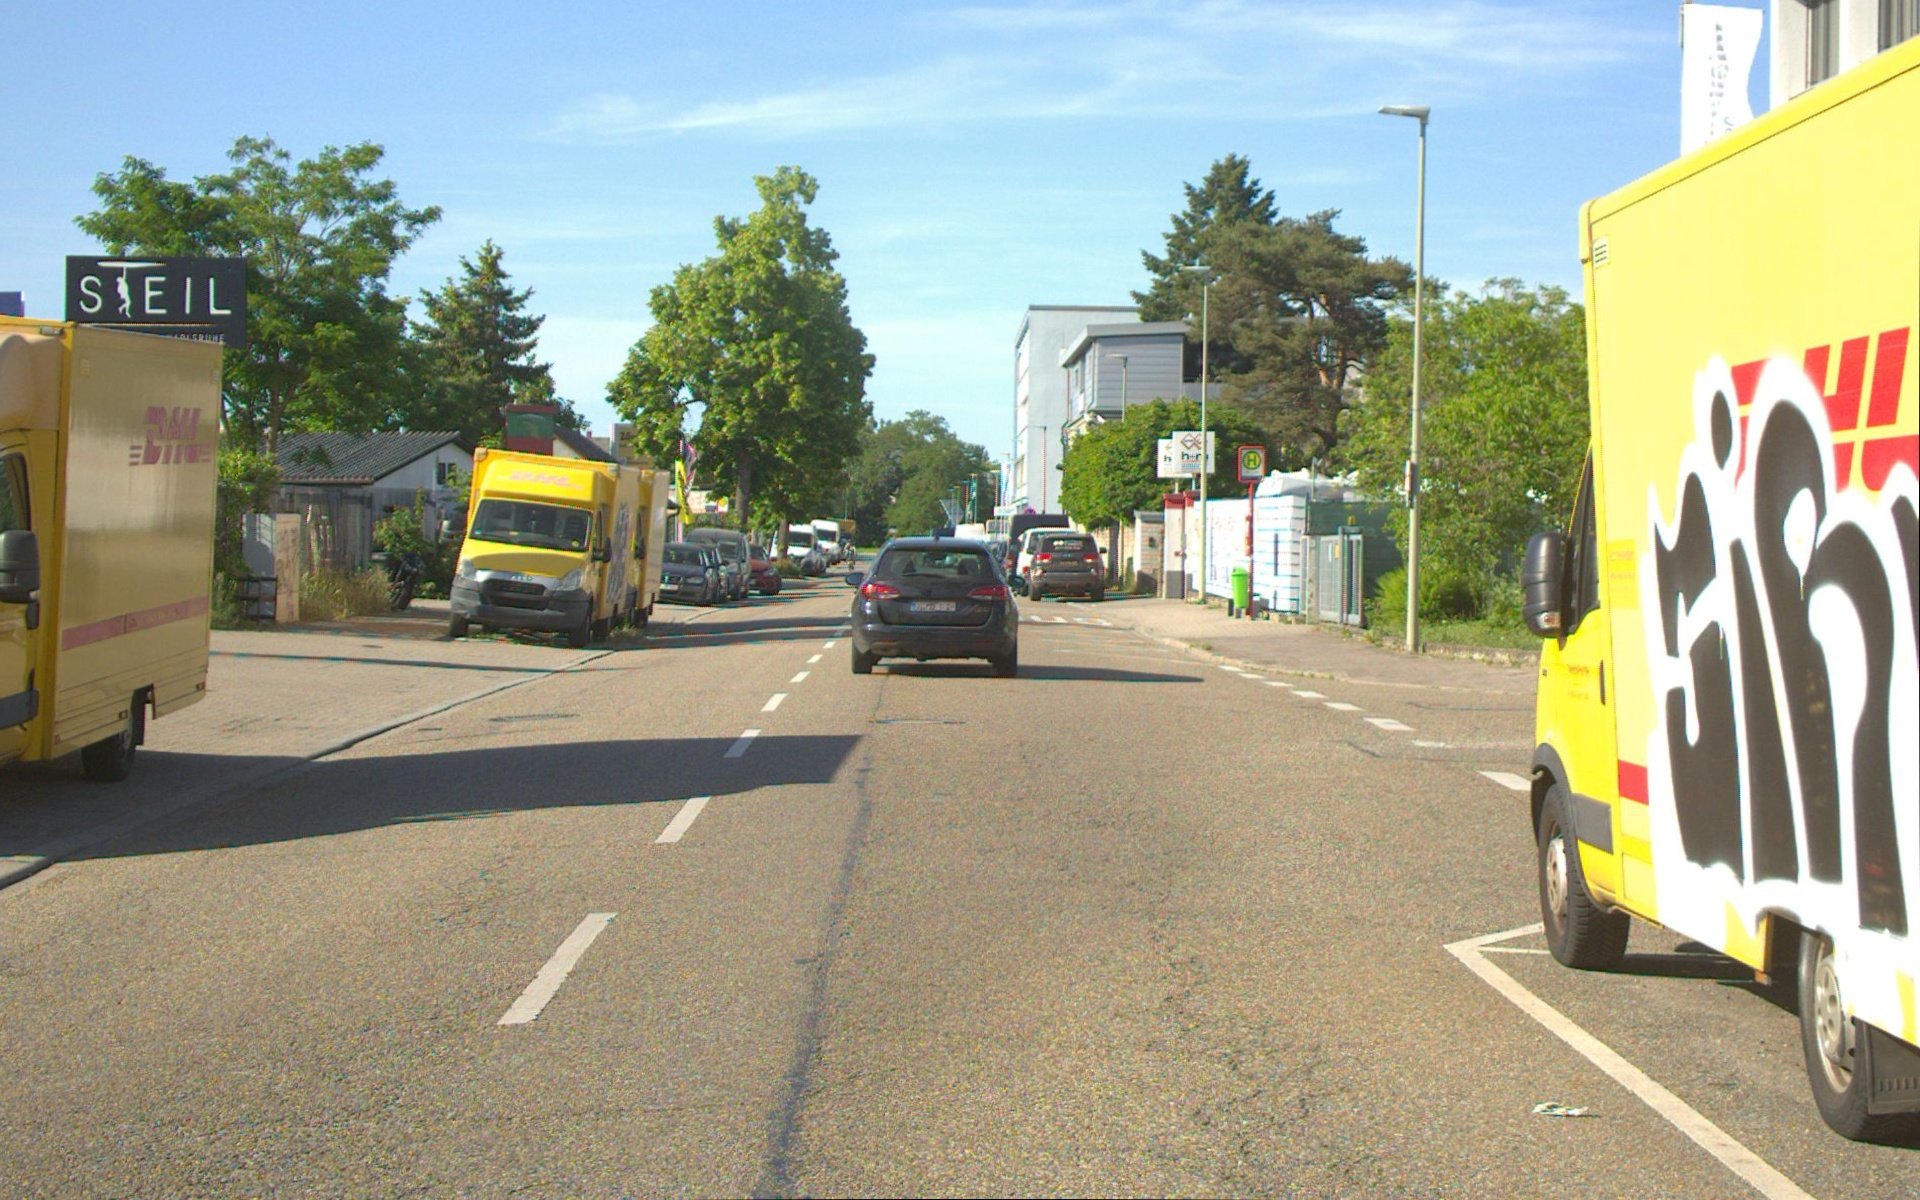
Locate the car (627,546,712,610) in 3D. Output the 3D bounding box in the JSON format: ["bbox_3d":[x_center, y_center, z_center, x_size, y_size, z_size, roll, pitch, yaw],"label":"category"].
[{"bbox_3d":[-6.769,-0.535,80.497,1.756,1.398,4.558,1,1,-2],"label":"car"}]

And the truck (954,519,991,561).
[{"bbox_3d":[0.668,-3.429,195.315,1.993,2.280,6.956,1,1,0],"label":"truck"}]

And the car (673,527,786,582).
[{"bbox_3d":[-6.531,-1.300,96.996,1.875,1.480,4.045,-1,2,-24],"label":"car"}]

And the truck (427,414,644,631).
[{"bbox_3d":[-6.331,-1.157,52.064,2.402,2.972,6.374,3,1,0],"label":"truck"}]

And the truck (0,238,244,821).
[{"bbox_3d":[-6.171,-0.447,20.402,2.402,2.972,7.246,3,1,-2],"label":"truck"}]

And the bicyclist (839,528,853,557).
[{"bbox_3d":[-5.915,-2.987,178.655,0.695,1.534,0.635,1,1,-2],"label":"bicyclist"}]

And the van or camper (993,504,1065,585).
[{"bbox_3d":[2.007,-1.634,101.040,1.993,2.302,4.000,1,1,0],"label":"van or camper"}]

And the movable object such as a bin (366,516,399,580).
[{"bbox_3d":[-12.068,-1.087,71.806,0.585,1.335,0.549,1,1,0],"label":"movable object such as a bin"}]

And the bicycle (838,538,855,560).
[{"bbox_3d":[-5.895,-2.648,178.582,0.829,1.149,2.941,1,1,-2],"label":"bicycle"}]

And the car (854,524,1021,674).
[{"bbox_3d":[-0.213,-0.048,37.450,1.712,1.527,3.687,1,1,1],"label":"car"}]

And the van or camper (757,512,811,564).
[{"bbox_3d":[-8.317,-2.909,161.722,2.323,2.354,6.529,1,1,-4],"label":"van or camper"}]

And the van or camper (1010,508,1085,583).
[{"bbox_3d":[2.416,-1.524,95.907,1.919,2.012,4.080,1,1,0],"label":"van or camper"}]

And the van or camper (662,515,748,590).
[{"bbox_3d":[-6.678,-1.243,90.314,1.891,1.919,4.266,0,1,1],"label":"van or camper"}]

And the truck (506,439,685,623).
[{"bbox_3d":[-6.190,-1.189,59.180,2.193,2.892,6.439,3,1,1],"label":"truck"}]

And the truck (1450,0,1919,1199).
[{"bbox_3d":[3.258,-0.071,10.461,2.402,2.926,7.017,-1,1,-1],"label":"truck"}]

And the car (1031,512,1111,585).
[{"bbox_3d":[2.884,-1.364,90.323,1.919,1.819,4.080,1,1,0],"label":"car"}]
